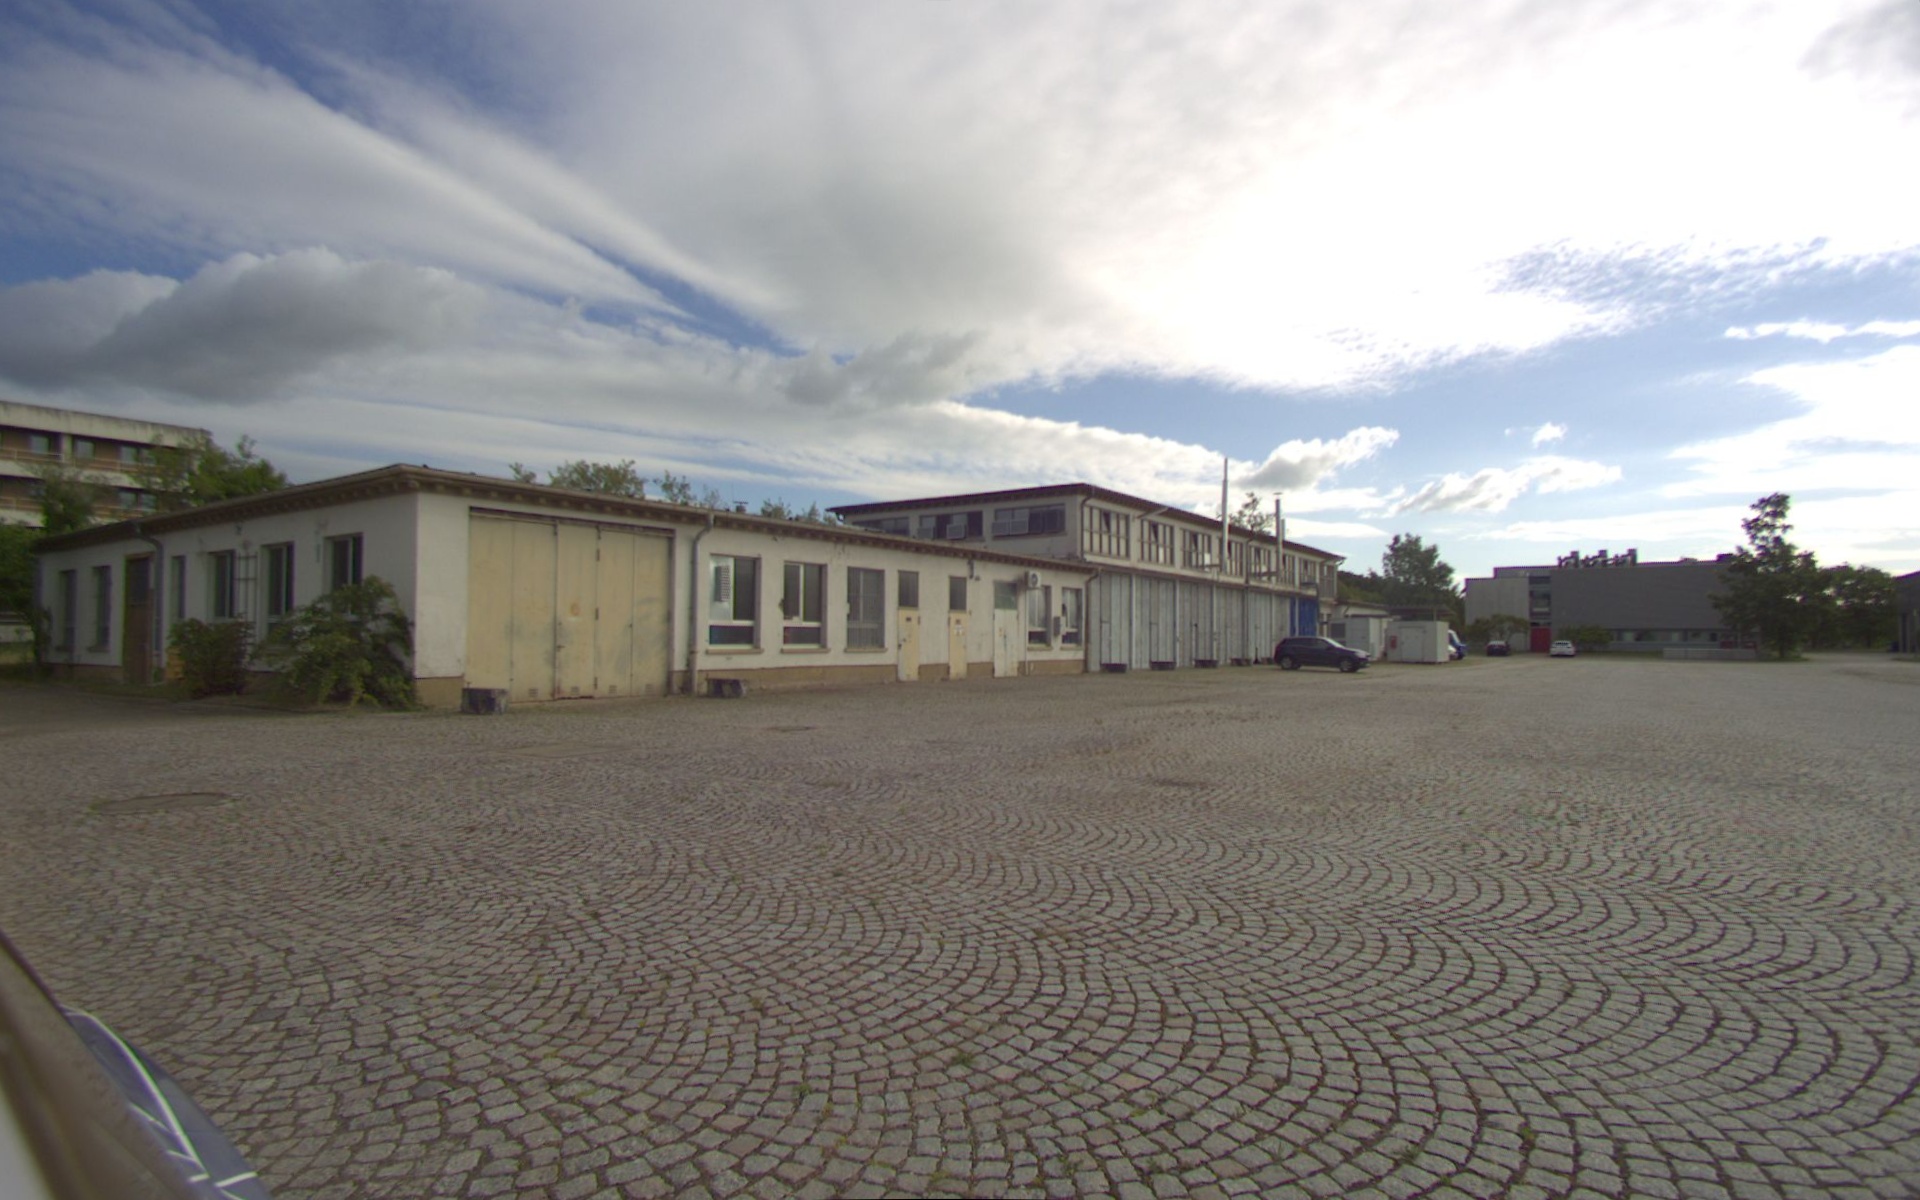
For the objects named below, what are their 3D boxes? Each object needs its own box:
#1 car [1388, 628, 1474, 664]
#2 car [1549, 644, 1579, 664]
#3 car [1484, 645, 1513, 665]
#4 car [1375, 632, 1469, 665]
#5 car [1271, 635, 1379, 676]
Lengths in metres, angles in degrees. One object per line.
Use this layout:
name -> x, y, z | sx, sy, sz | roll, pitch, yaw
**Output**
car -> 36.122, 3.513, 77.670 | 5.616, 2.635, 2.424 | -2, -3, 34
car -> 55.260, 4.910, 92.588 | 2.148, 1.824, 3.954 | -2, -3, 34
car -> 50.694, 5.138, 95.246 | 1.995, 1.824, 3.954 | -2, -3, 34
car -> 32.010, 3.349, 70.150 | 5.616, 2.236, 2.424 | -2, -3, 34
car -> 16.999, 2.601, 47.178 | 4.425, 1.770, 1.976 | -2, -6, 35
